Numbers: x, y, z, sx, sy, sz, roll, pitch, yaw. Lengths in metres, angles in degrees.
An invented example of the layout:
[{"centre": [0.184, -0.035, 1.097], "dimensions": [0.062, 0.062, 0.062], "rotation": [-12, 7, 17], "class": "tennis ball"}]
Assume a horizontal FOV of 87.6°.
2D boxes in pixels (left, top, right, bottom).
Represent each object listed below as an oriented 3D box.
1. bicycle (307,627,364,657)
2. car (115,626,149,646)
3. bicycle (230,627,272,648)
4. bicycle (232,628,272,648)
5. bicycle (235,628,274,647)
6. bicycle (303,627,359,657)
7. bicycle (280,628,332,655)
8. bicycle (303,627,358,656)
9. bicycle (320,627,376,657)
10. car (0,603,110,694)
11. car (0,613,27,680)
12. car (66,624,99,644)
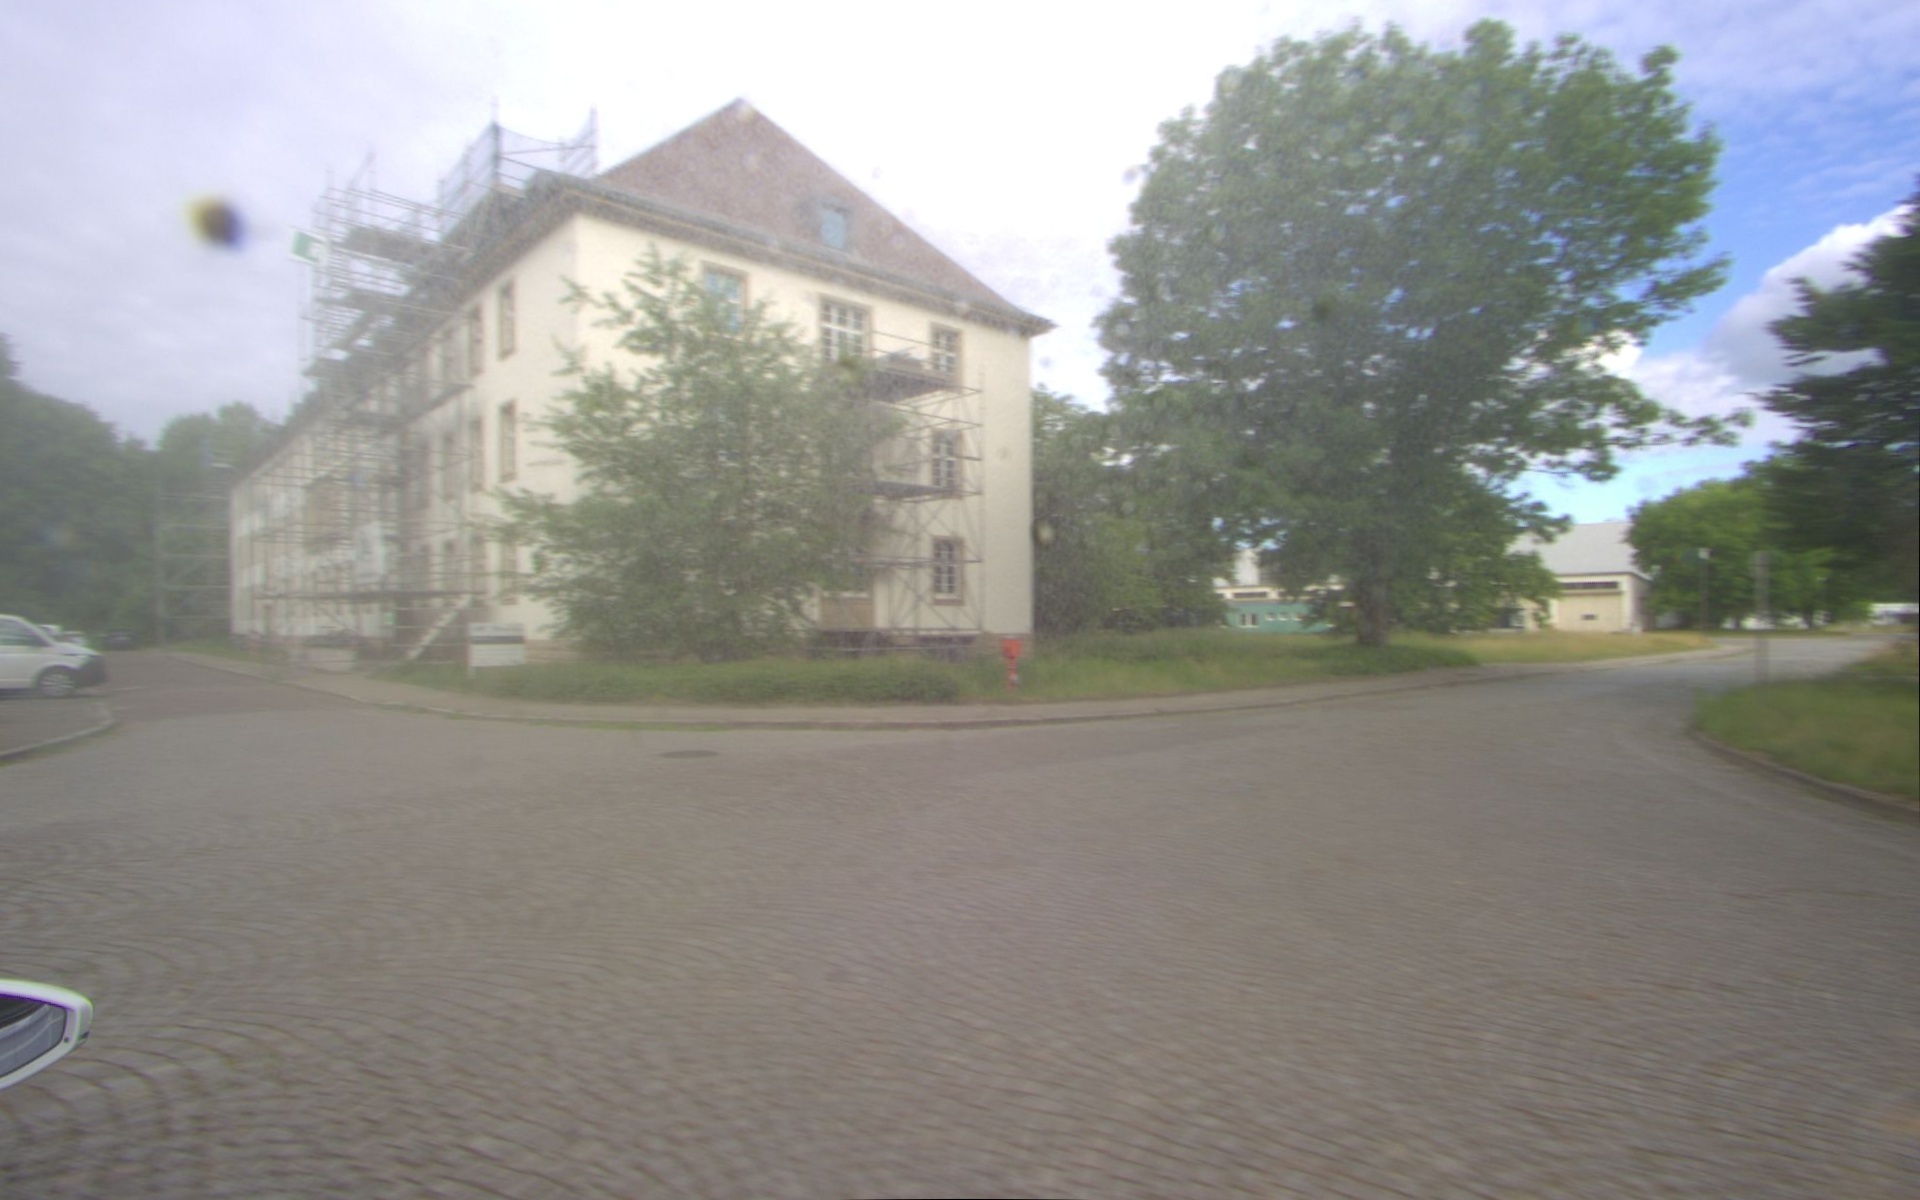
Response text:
[{"centre": [-24.273, 1.621, 38.938], "dimensions": [1.838, 1.109, 0.507], "rotation": [0, -1, -36], "class": "bicycle"}, {"centre": [-60.542, 2.596, 73.210], "dimensions": [1.569, 1.389, 3.914], "rotation": [0, -1, -44], "class": "car"}, {"centre": [-39.800, 2.104, 56.240], "dimensions": [1.830, 1.109, 0.510], "rotation": [0, -1, -21], "class": "bicycle"}, {"centre": [-40.563, 2.175, 57.389], "dimensions": [1.838, 1.109, 0.507], "rotation": [0, -1, -36], "class": "bicycle"}, {"centre": [-40.943, 2.171, 58.107], "dimensions": [1.838, 1.109, 0.507], "rotation": [0, -1, -36], "class": "bicycle"}, {"centre": [-24.811, 1.646, 39.511], "dimensions": [1.838, 1.109, 0.507], "rotation": [0, -1, -36], "class": "bicycle"}, {"centre": [-27.727, 1.752, 42.467], "dimensions": [1.838, 1.109, 0.507], "rotation": [0, -1, -36], "class": "bicycle"}, {"centre": [-25.263, 1.666, 40.174], "dimensions": [1.838, 1.109, 0.507], "rotation": [0, -1, -36], "class": "bicycle"}, {"centre": [-23.678, 1.612, 38.751], "dimensions": [1.838, 1.109, 0.507], "rotation": [0, -1, -36], "class": "bicycle"}, {"centre": [-22.712, 1.102, 22.678], "dimensions": [5.223, 2.022, 1.950], "rotation": [0, -1, -43], "class": "car"}, {"centre": [-28.084, 1.313, 27.746], "dimensions": [3.216, 1.868, 1.589], "rotation": [0, -1, -43], "class": "car"}, {"centre": [-62.119, 2.392, 70.883], "dimensions": [1.569, 1.356, 3.914], "rotation": [0, -1, -44], "class": "car"}]
